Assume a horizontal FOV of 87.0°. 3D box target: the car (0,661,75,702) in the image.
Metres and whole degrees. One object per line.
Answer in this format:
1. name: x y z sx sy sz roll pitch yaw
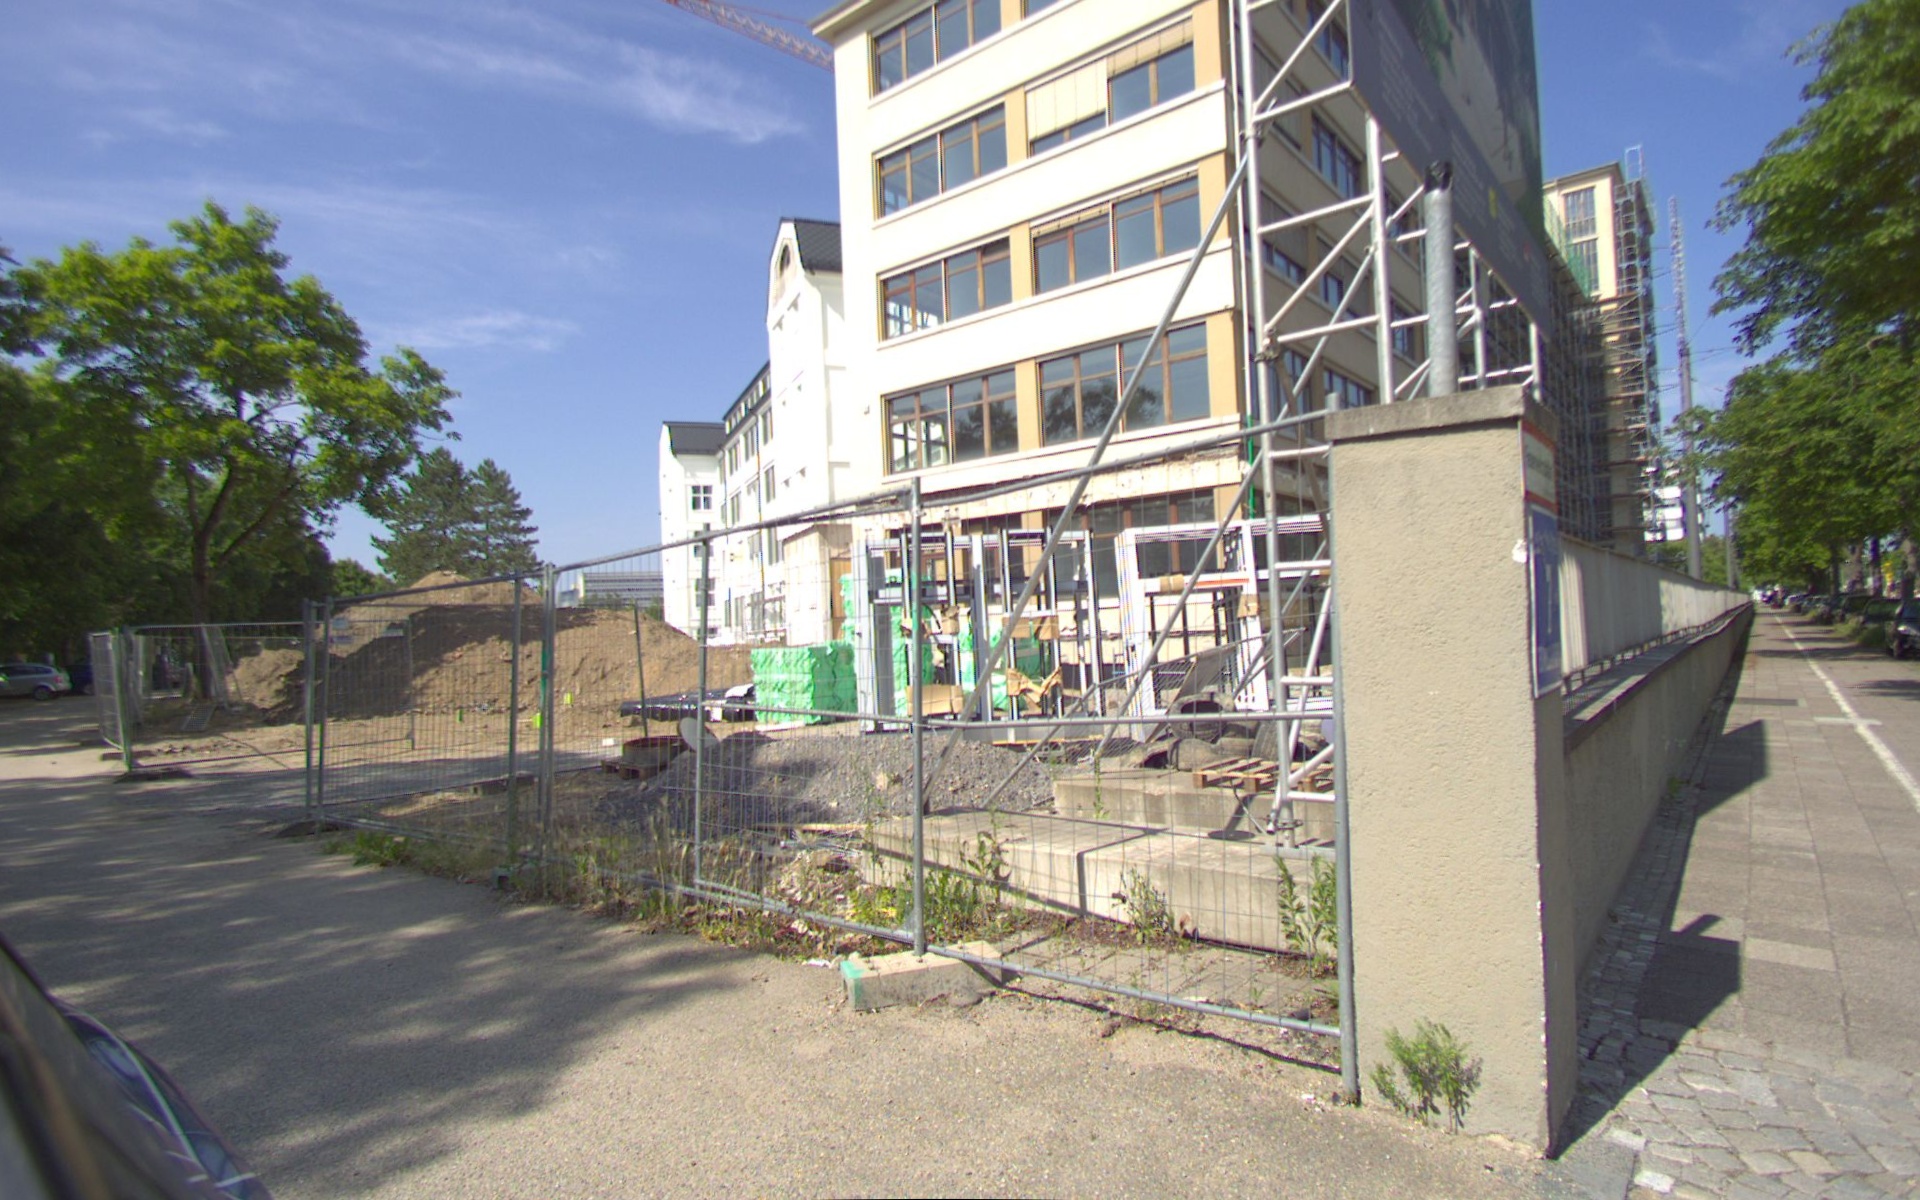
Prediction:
1. car: -38.242 3.292 40.478 3.932 1.519 2.006 -1 -2 -31

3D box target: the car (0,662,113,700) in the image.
1. car: -40.662 3.611 45.299 3.932 1.453 2.006 -1 -2 -31

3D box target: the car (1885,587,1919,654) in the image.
1. car: 22.680 0.415 23.181 1.819 1.464 3.949 -4 -2 38
